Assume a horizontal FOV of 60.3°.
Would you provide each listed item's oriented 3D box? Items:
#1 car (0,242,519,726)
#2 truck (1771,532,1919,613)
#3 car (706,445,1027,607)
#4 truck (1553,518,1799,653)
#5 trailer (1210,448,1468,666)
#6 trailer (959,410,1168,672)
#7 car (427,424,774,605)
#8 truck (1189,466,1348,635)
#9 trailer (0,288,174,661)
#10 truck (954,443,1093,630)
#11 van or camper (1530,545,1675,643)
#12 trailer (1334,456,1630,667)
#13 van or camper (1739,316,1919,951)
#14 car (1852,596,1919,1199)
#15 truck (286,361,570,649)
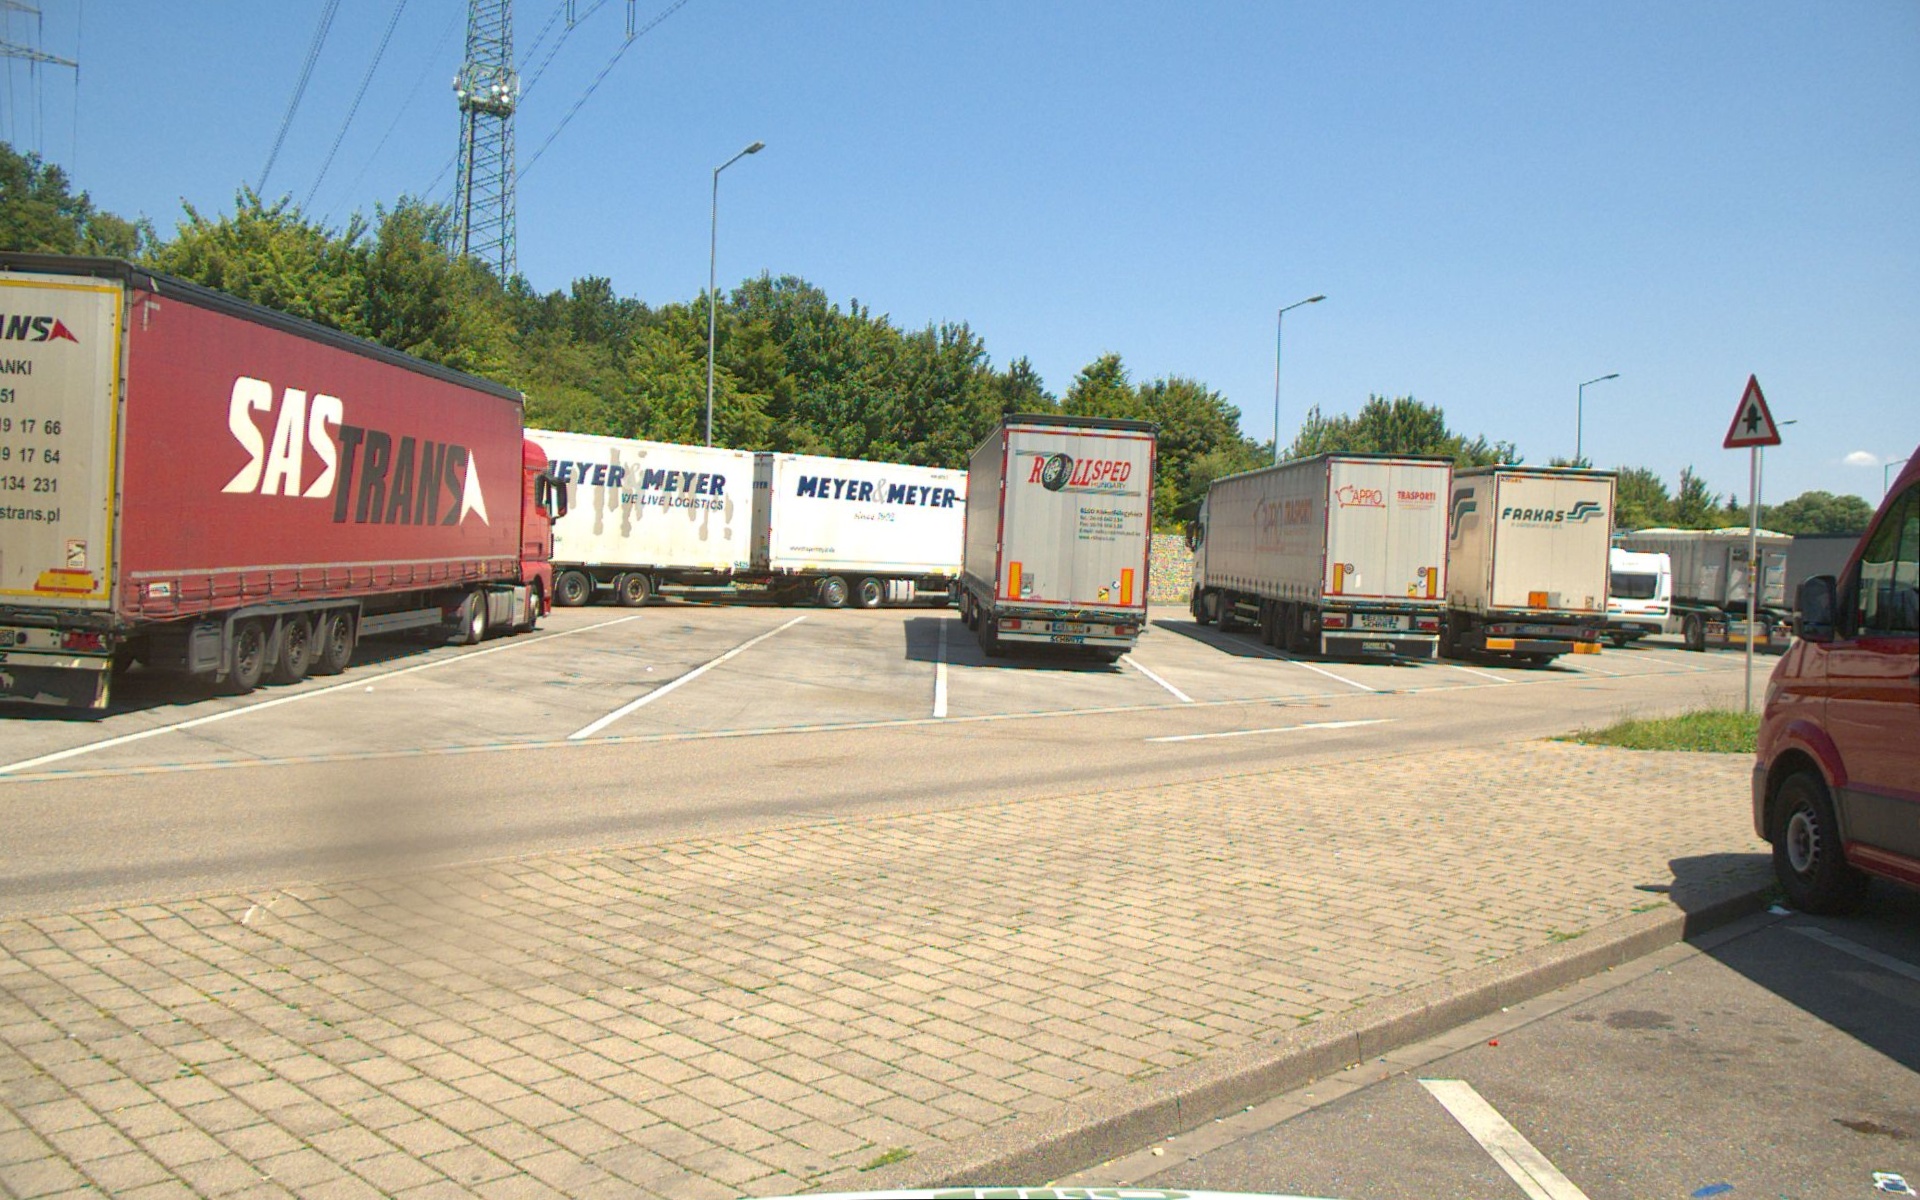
[{"bbox_3d":[-8.679,-1.280,20.942,2.641,4.184,12.935,2,2,0],"label":"car"},{"bbox_3d":[34.702,-1.060,63.614,2.082,2.869,9.777,1,1,-1],"label":"truck"},{"bbox_3d":[-2.465,-2.034,48.284,2.644,4.261,10.146,5,3,44],"label":"car"},{"bbox_3d":[21.747,-0.643,51.222,2.437,3.630,11.423,2,2,-1],"label":"truck"},{"bbox_3d":[8.244,-1.086,38.085,2.808,4.107,12.438,2,2,-1],"label":"trailer"},{"bbox_3d":[1.652,-1.238,33.650,2.809,4.107,14.238,2,2,-2],"label":"trailer"},{"bbox_3d":[-8.807,-2.014,41.517,2.643,4.114,8.413,5,3,43],"label":"car"},{"bbox_3d":[8.165,-1.382,44.715,2.808,4.107,6.956,2,2,-1],"label":"truck"},{"bbox_3d":[-12.550,-1.407,17.143,2.756,4.341,12.940,2,2,-1],"label":"trailer"},{"bbox_3d":[1.422,-1.564,40.731,2.809,4.107,7.026,2,2,-2],"label":"truck"},{"bbox_3d":[18.266,-0.217,47.326,2.061,2.606,5.372,1,1,0],"label":"van or camper"},{"bbox_3d":[11.821,-1.020,39.202,2.808,4.107,12.438,2,2,-1],"label":"trailer"},{"bbox_3d":[4.985,0.175,5.540,1.954,2.700,6.482,1,1,3],"label":"van or camper"},{"bbox_3d":[2.535,0.796,1.092,1.584,1.509,3.762,1,1,-6],"label":"car"},{"bbox_3d":[-8.700,-1.529,27.859,2.641,4.184,6.239,2,2,0],"label":"truck"}]
